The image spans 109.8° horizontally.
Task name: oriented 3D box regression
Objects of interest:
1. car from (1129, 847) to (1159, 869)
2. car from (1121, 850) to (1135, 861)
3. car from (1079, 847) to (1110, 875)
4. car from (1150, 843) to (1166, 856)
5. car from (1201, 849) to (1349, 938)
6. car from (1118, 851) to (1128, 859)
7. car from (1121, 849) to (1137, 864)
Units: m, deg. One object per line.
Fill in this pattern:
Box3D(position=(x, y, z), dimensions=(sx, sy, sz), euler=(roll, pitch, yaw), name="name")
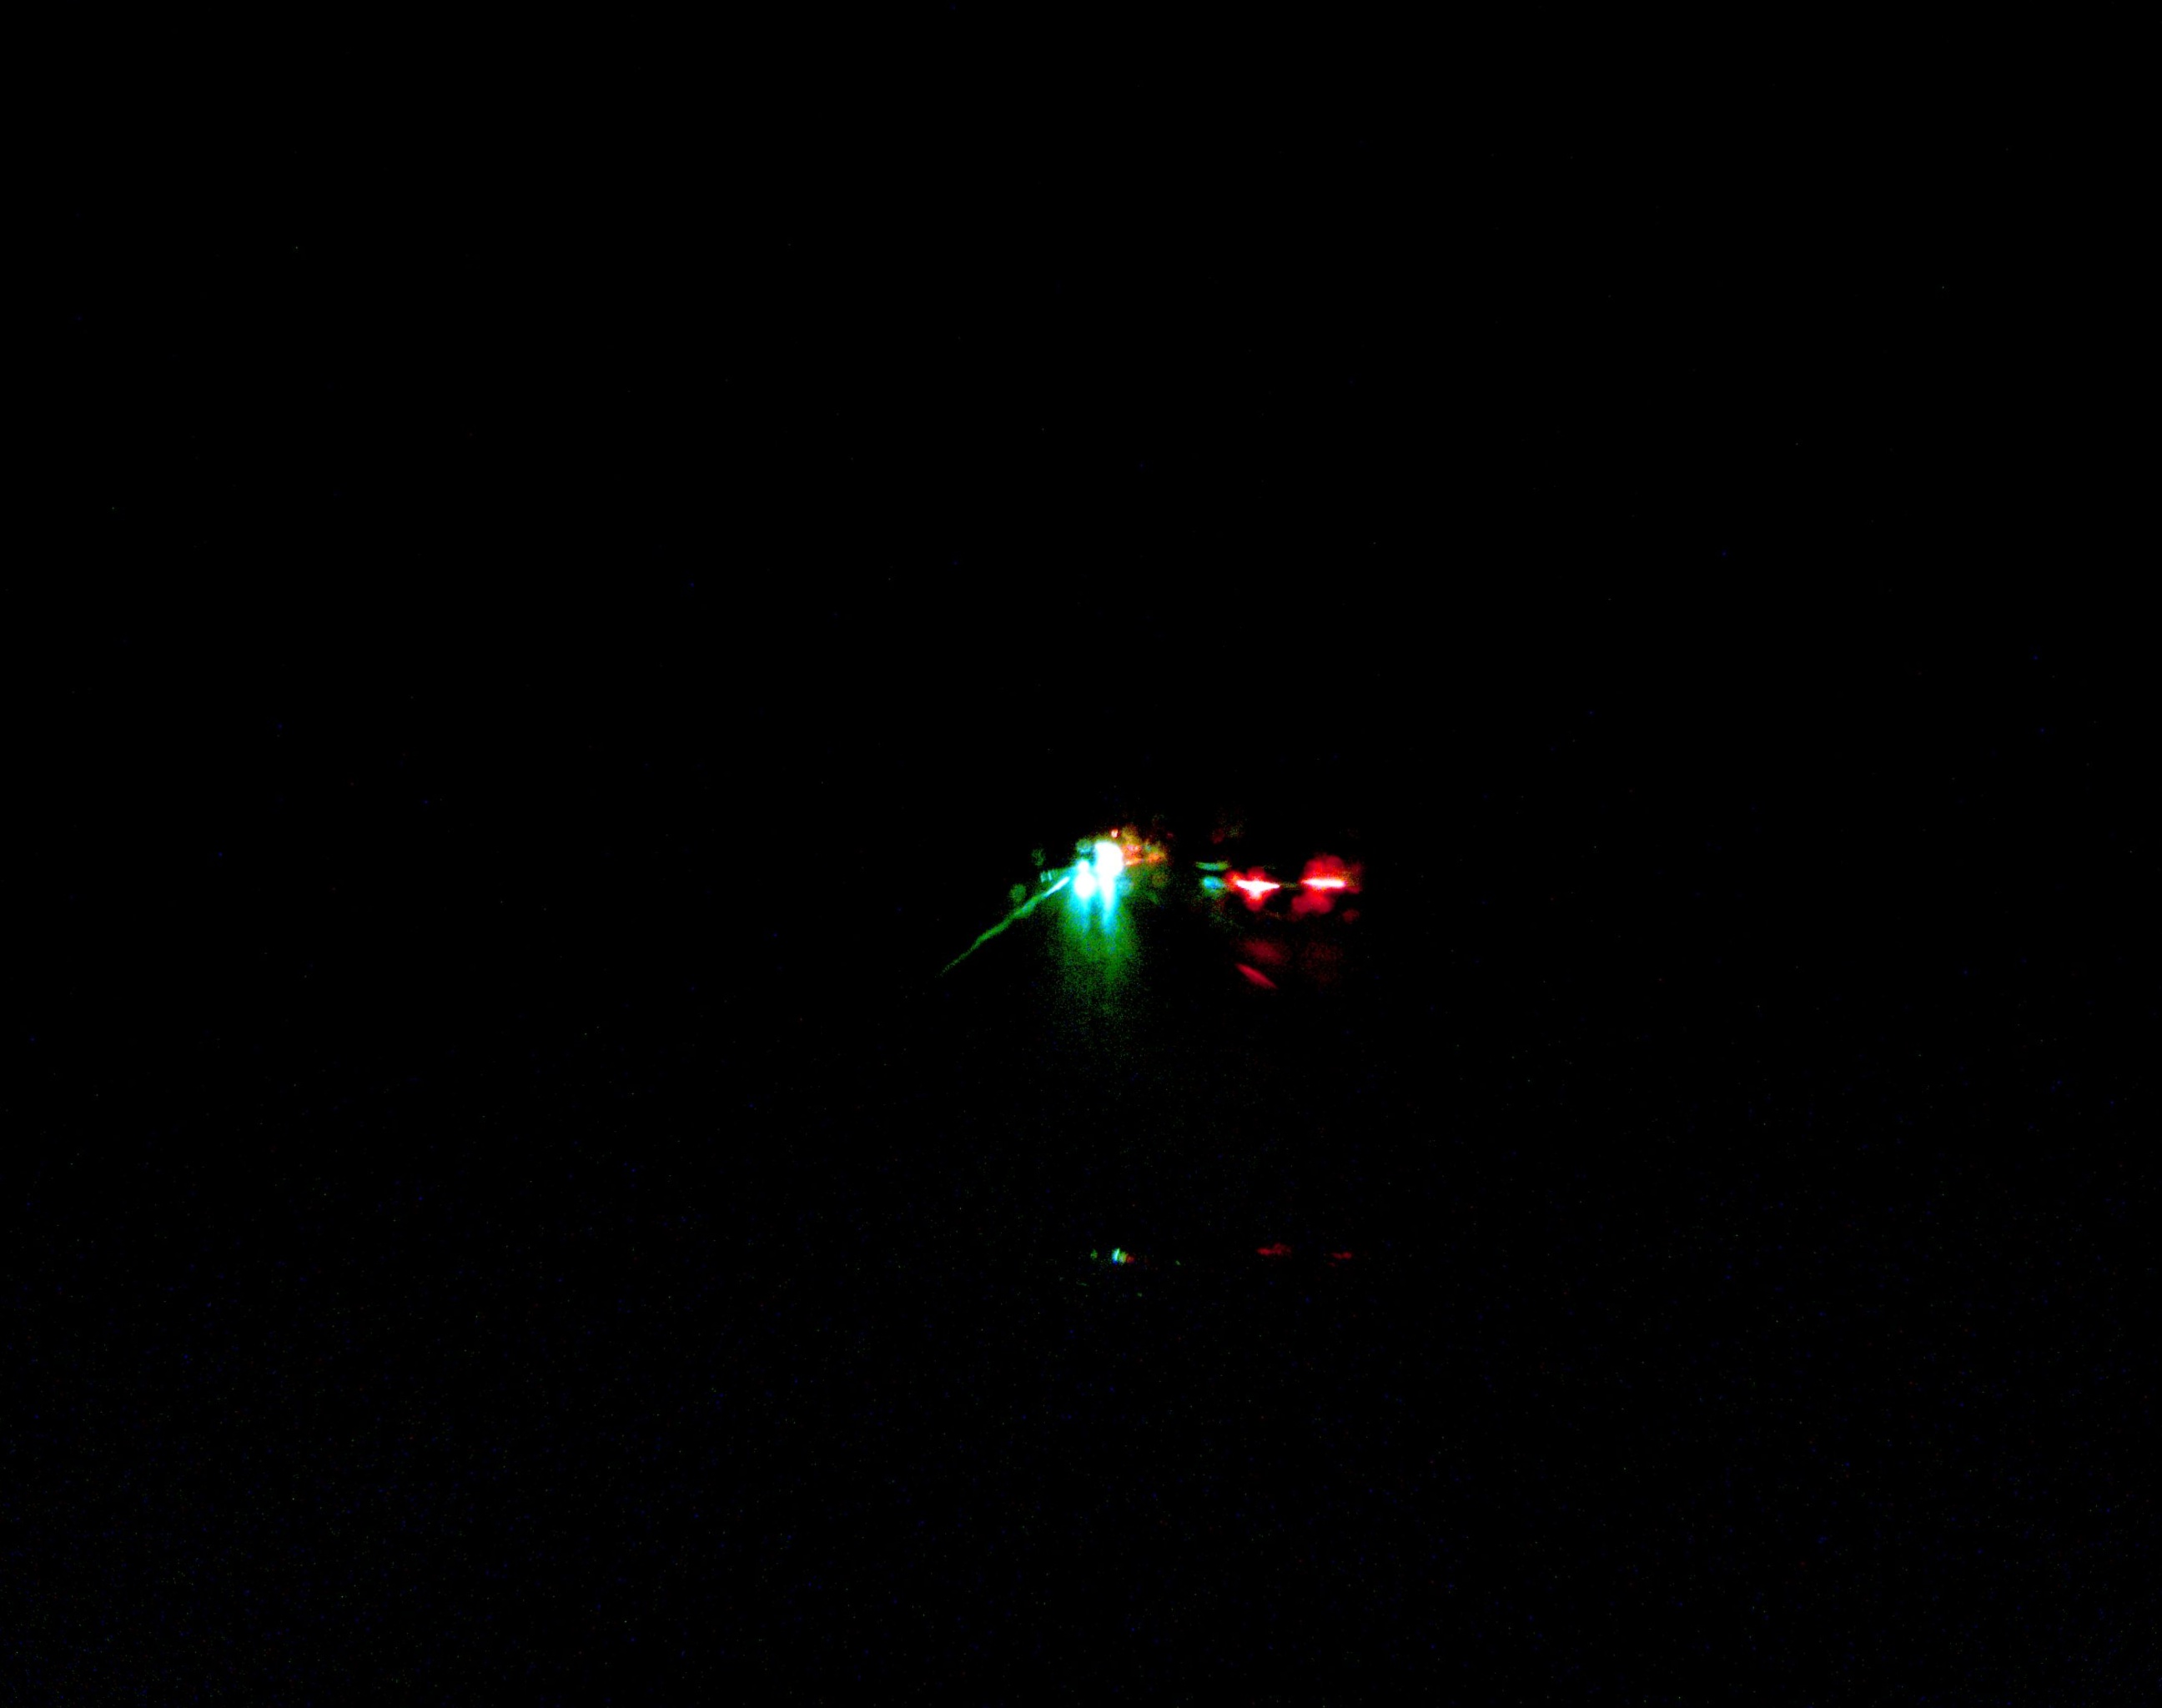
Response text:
Box3D(position=(4.688, 0.282, 57.416), dimensions=(1.998, 1.488, 4.357), euler=(-4, 0, 2), name="car")
Box3D(position=(7.087, 0.270, 114.985), dimensions=(1.834, 1.545, 4.442), euler=(-3, 0, 2), name="car")
Box3D(position=(1.014, 0.463, 54.842), dimensions=(1.998, 1.804, 4.000), euler=(-5, 0, 2), name="car")
Box3D(position=(10.521, -0.603, 104.086), dimensions=(1.834, 1.545, 4.442), euler=(-4, 0, 2), name="car")
Box3D(position=(3.752, 0.683, 15.535), dimensions=(1.980, 1.453, 4.282), euler=(-4, 0, 2), name="car")
Box3D(position=(8.672, 0.187, 157.874), dimensions=(1.790, 1.623, 4.426), euler=(-4, 0, 2), name="car")
Box3D(position=(5.612, 0.280, 88.985), dimensions=(1.720, 1.545, 4.000), euler=(-4, 0, 2), name="car")
